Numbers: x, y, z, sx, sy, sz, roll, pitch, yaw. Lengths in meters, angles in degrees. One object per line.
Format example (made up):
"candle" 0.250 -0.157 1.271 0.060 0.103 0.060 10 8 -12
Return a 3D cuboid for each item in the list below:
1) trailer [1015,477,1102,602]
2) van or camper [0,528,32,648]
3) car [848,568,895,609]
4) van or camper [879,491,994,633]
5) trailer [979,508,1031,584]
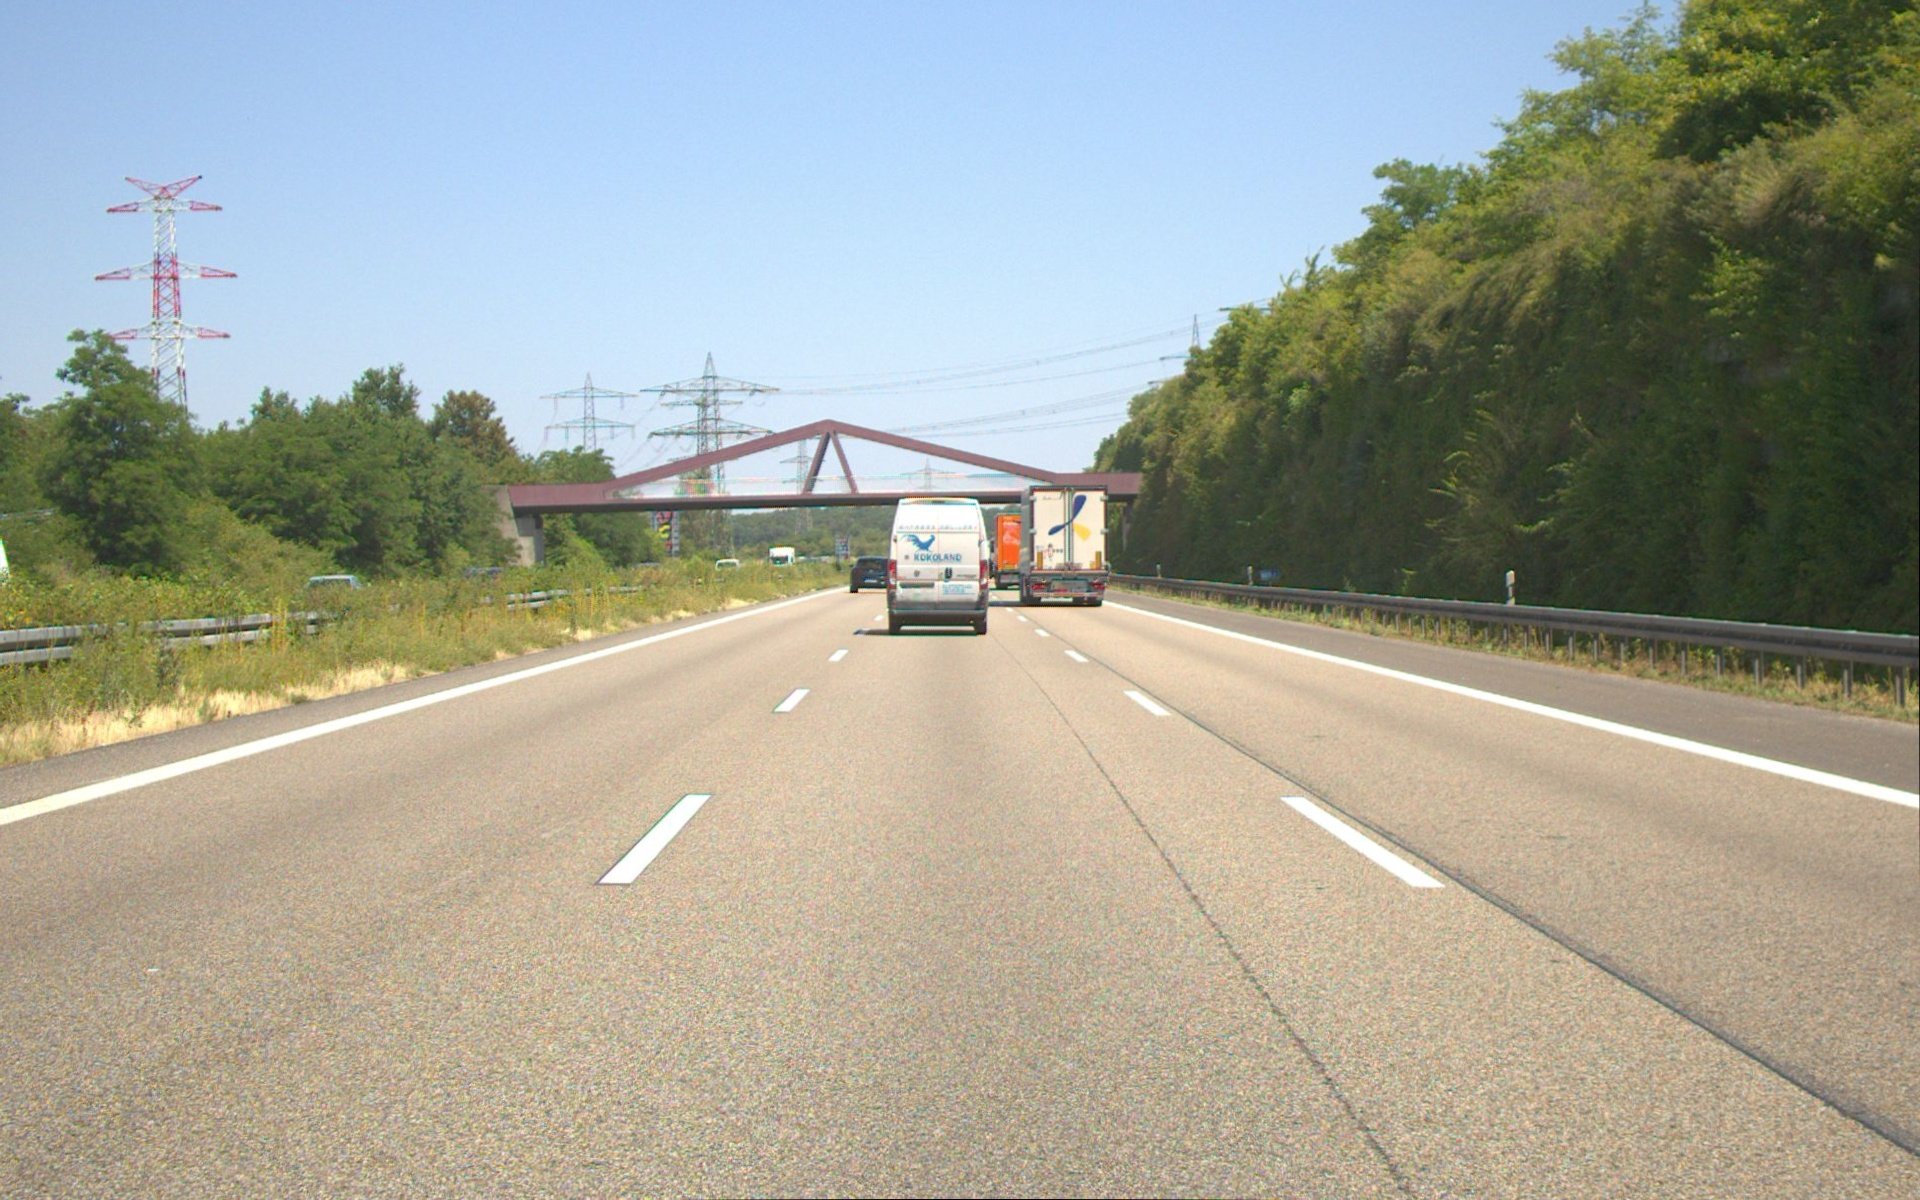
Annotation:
"trailer" 3.337 -2.066 119.114 2.637 4.046 12.366 1 1 0
"van or camper" -21.179 -0.265 71.443 2.059 2.516 6.390 1 1 0
"car" -4.133 -0.546 161.253 1.982 1.811 3.812 1 1 1
"van or camper" -0.487 -0.792 71.307 2.230 2.772 5.423 1 1 -1
"trailer" 2.357 -2.877 183.532 2.637 3.883 7.069 1 1 0
